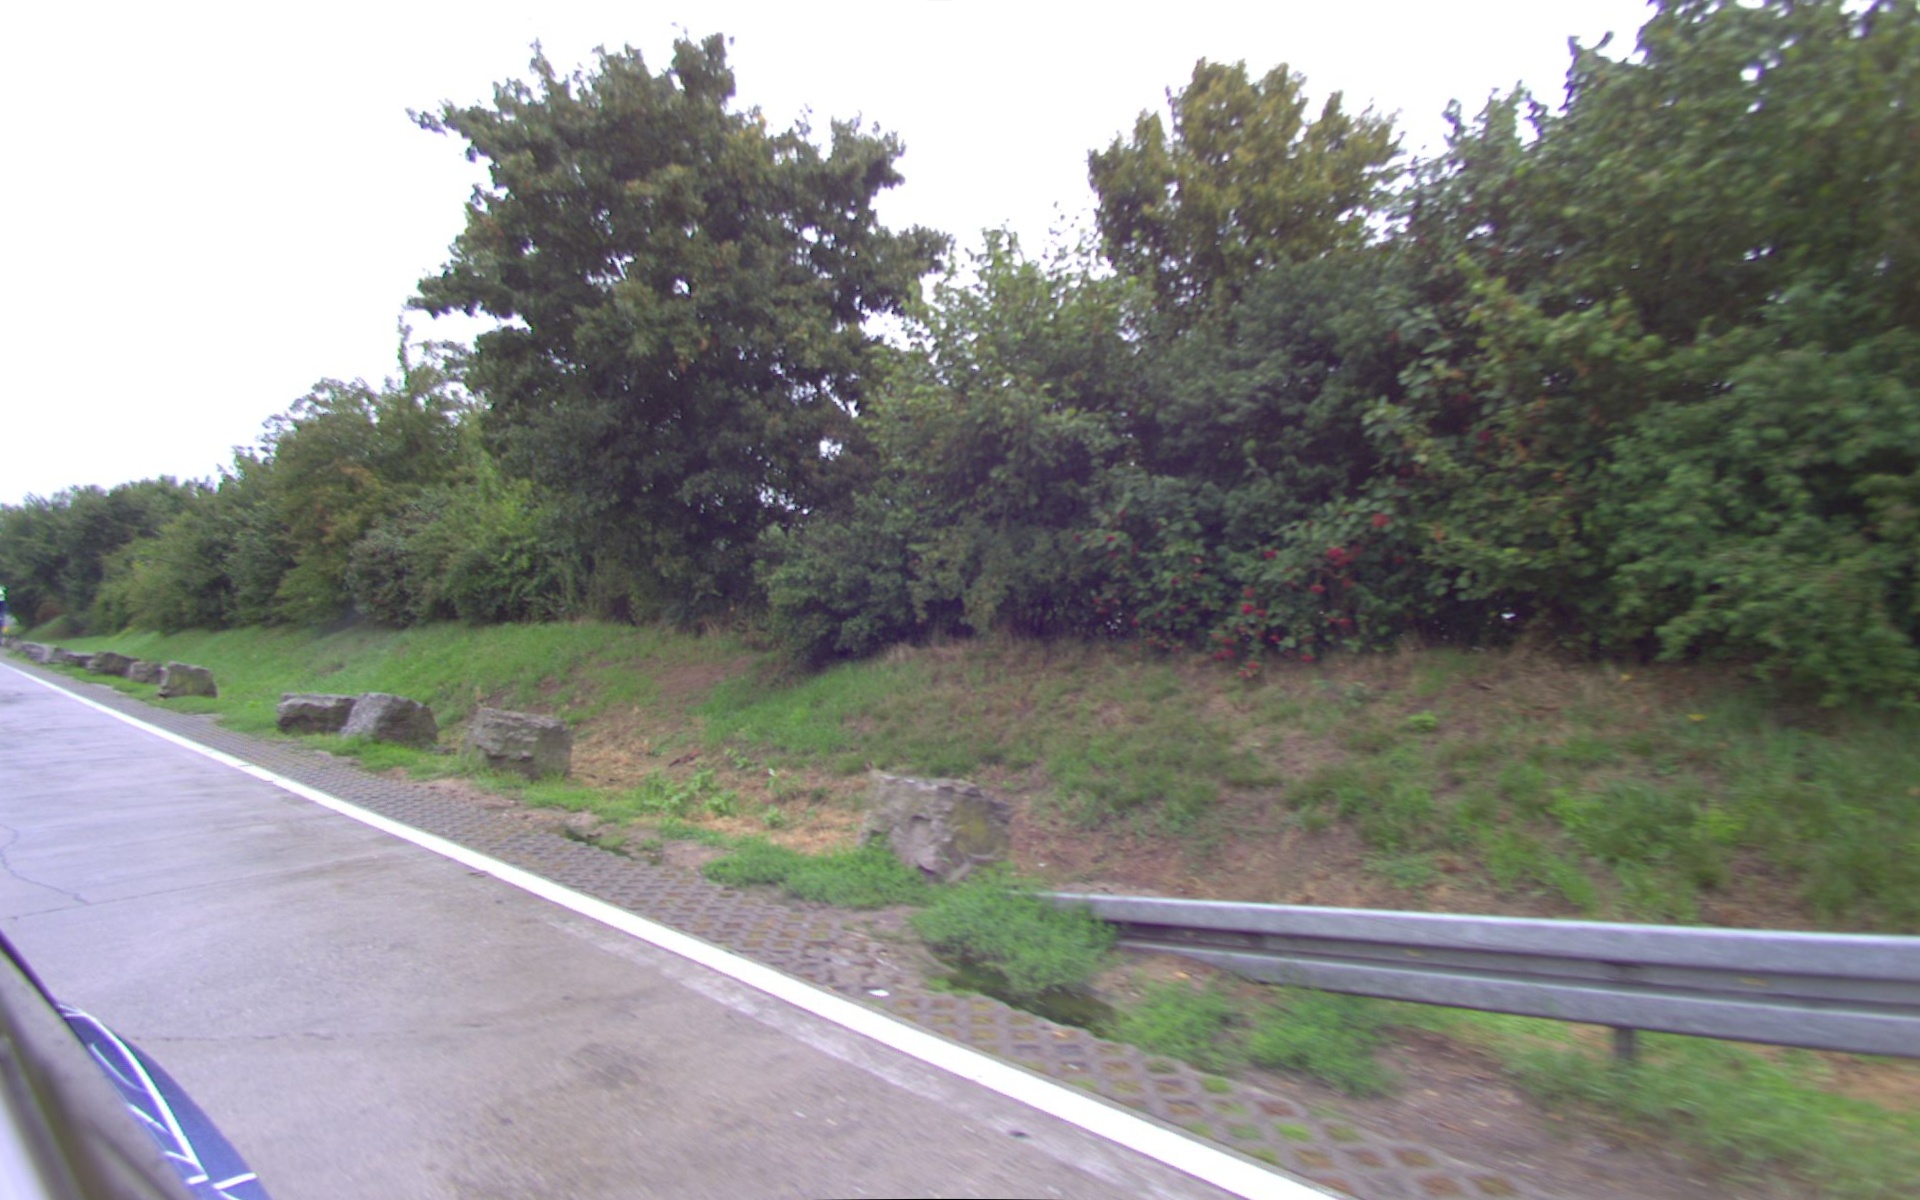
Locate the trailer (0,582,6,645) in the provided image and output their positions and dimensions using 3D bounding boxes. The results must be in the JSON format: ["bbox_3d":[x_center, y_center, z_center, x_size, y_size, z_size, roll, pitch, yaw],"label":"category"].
[{"bbox_3d":[-72.780,0.982,74.274,13.768,4.420,3.199,-1,-2,44],"label":"trailer"}]

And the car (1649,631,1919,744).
[{"bbox_3d":[14.563,1.441,17.670,3.999,1.752,1.815,-1,-2,42],"label":"car"}]

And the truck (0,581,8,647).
[{"bbox_3d":[-68.066,0.958,69.716,6.315,4.420,3.199,-1,-2,44],"label":"truck"}]
